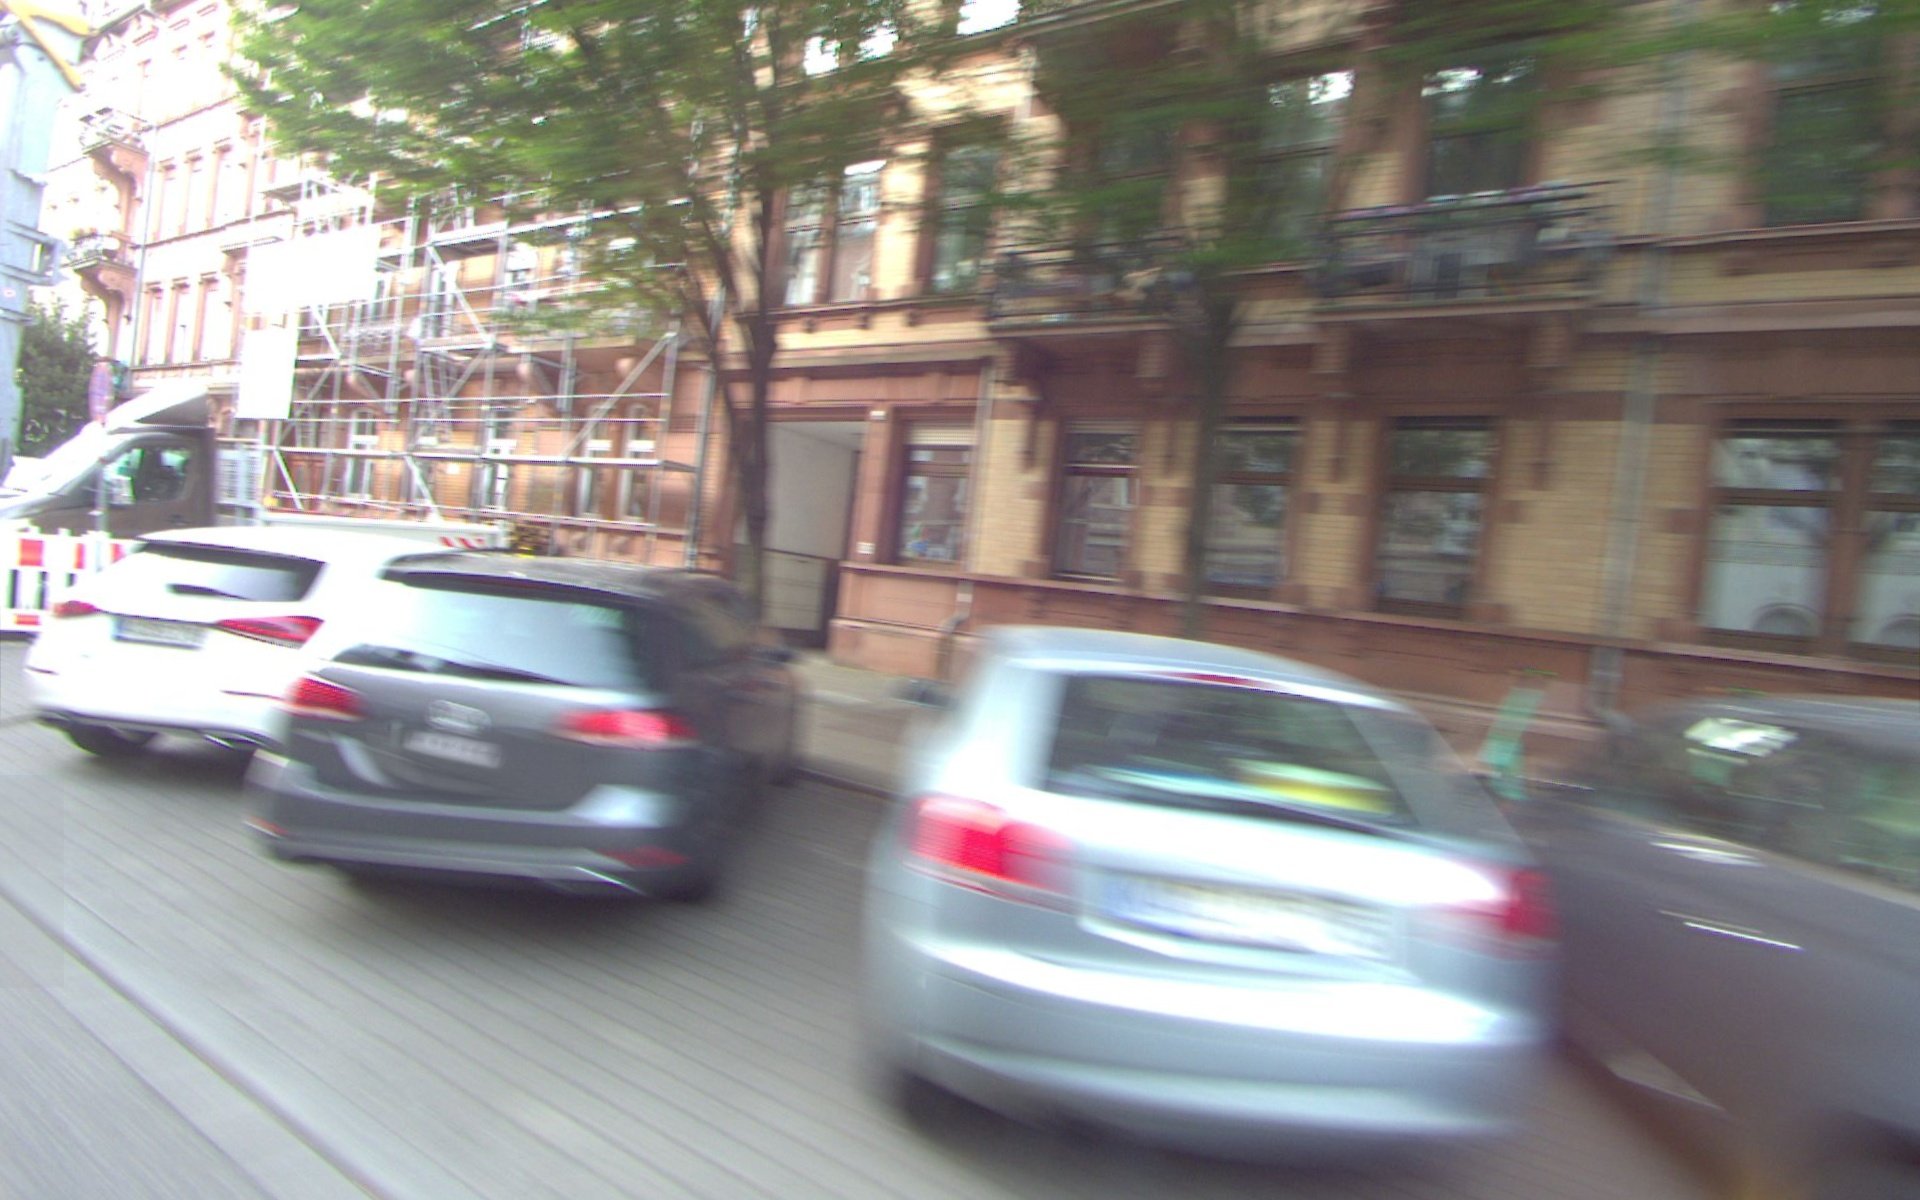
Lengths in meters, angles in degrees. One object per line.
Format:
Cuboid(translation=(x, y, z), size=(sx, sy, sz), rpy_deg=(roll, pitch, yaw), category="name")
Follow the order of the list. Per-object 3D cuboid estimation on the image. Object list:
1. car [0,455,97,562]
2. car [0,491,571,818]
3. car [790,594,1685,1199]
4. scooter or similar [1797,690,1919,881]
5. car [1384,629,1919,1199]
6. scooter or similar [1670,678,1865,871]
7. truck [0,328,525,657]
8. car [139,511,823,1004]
Cuboid(translation=(-20.004, -1.969, 19.061), size=(1.867, 1.982, 5.174), rpy_deg=(8, 2, 32), category="car")
Cuboid(translation=(-4.366, 0.219, 7.048), size=(1.654, 1.508, 3.991), rpy_deg=(6, 2, -1), category="car")
Cuboid(translation=(0.622, 0.817, 4.002), size=(1.797, 1.439, 3.629), rpy_deg=(6, 2, 1), category="car")
Cuboid(translation=(7.012, 1.386, 7.486), size=(0.326, 1.296, 1.059), rpy_deg=(7, -1, -28), category="scooter or similar")
Cuboid(translation=(2.825, 1.022, 3.118), size=(1.594, 1.537, 3.630), rpy_deg=(6, 2, 5), category="car")
Cuboid(translation=(6.216, 1.310, 7.794), size=(0.325, 1.296, 1.061), rpy_deg=(7, -1, -19), category="scooter or similar")
Cuboid(translation=(-9.641, -1.114, 13.370), size=(2.485, 3.112, 6.486), rpy_deg=(6, -2, 36), category="truck")
Cuboid(translation=(-1.896, 0.494, 5.483), size=(1.798, 1.508, 4.165), rpy_deg=(6, 2, -3), category="car")
